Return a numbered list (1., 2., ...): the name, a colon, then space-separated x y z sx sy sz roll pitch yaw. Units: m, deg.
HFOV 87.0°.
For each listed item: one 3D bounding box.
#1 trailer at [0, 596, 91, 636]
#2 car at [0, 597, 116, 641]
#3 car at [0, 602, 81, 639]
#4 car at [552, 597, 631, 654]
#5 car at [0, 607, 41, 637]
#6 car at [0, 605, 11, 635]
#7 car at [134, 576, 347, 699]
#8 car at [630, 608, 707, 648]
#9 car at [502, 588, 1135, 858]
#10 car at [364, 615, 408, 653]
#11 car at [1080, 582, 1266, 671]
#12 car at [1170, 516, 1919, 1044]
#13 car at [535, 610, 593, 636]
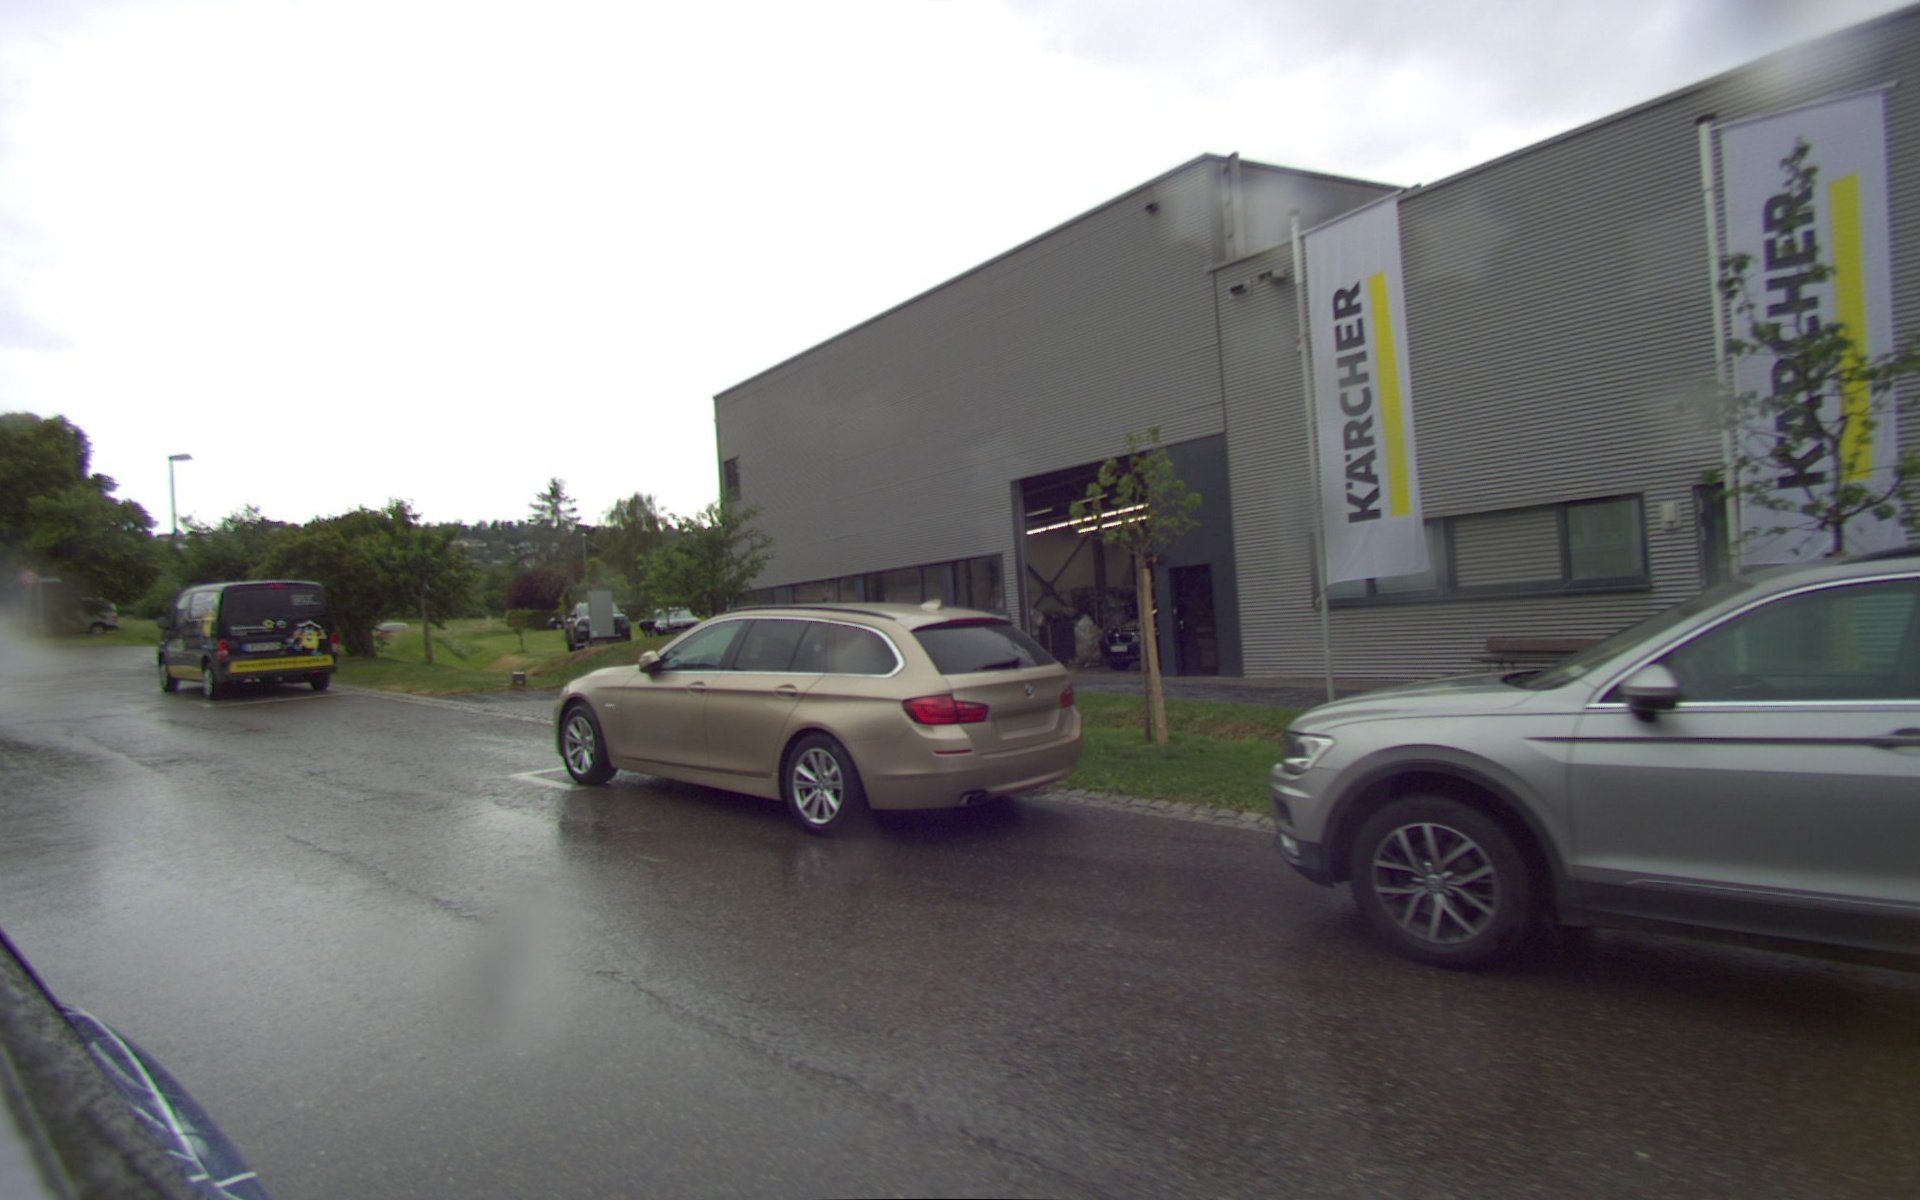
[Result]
1. trailer: -48.620 0.832 53.198 1.771 1.999 4.174 0 0 37
2. car: -42.662 0.863 47.685 1.862 1.920 4.254 0 1 42
3. car: -46.949 1.001 50.657 1.750 1.734 4.161 0 0 34
4. car: -14.042 1.020 38.321 2.099 1.936 5.627 -2 -2 -27
5. car: -55.001 1.330 56.960 1.803 1.601 4.576 0 3 37
6. car: -57.646 1.245 58.277 2.023 1.734 4.036 0 3 38
7. car: -12.536 0.570 17.495 4.845 1.845 1.896 -1 1 41
8. car: -11.182 1.028 38.595 1.965 1.407 4.705 0 -1 -27
9. car: -1.407 0.703 7.988 5.243 1.472 1.936 -1 0 40
10. car: -31.092 1.863 54.781 1.966 1.767 4.396 -1 -4 -31
11. car: 5.008 0.596 23.622 4.156 1.786 1.937 -2 -2 -38
12. car: 3.438 0.542 3.851 4.834 1.588 1.938 0 0 38
13. car: -34.125 1.958 87.266 4.426 2.237 1.935 1 -2 -31
